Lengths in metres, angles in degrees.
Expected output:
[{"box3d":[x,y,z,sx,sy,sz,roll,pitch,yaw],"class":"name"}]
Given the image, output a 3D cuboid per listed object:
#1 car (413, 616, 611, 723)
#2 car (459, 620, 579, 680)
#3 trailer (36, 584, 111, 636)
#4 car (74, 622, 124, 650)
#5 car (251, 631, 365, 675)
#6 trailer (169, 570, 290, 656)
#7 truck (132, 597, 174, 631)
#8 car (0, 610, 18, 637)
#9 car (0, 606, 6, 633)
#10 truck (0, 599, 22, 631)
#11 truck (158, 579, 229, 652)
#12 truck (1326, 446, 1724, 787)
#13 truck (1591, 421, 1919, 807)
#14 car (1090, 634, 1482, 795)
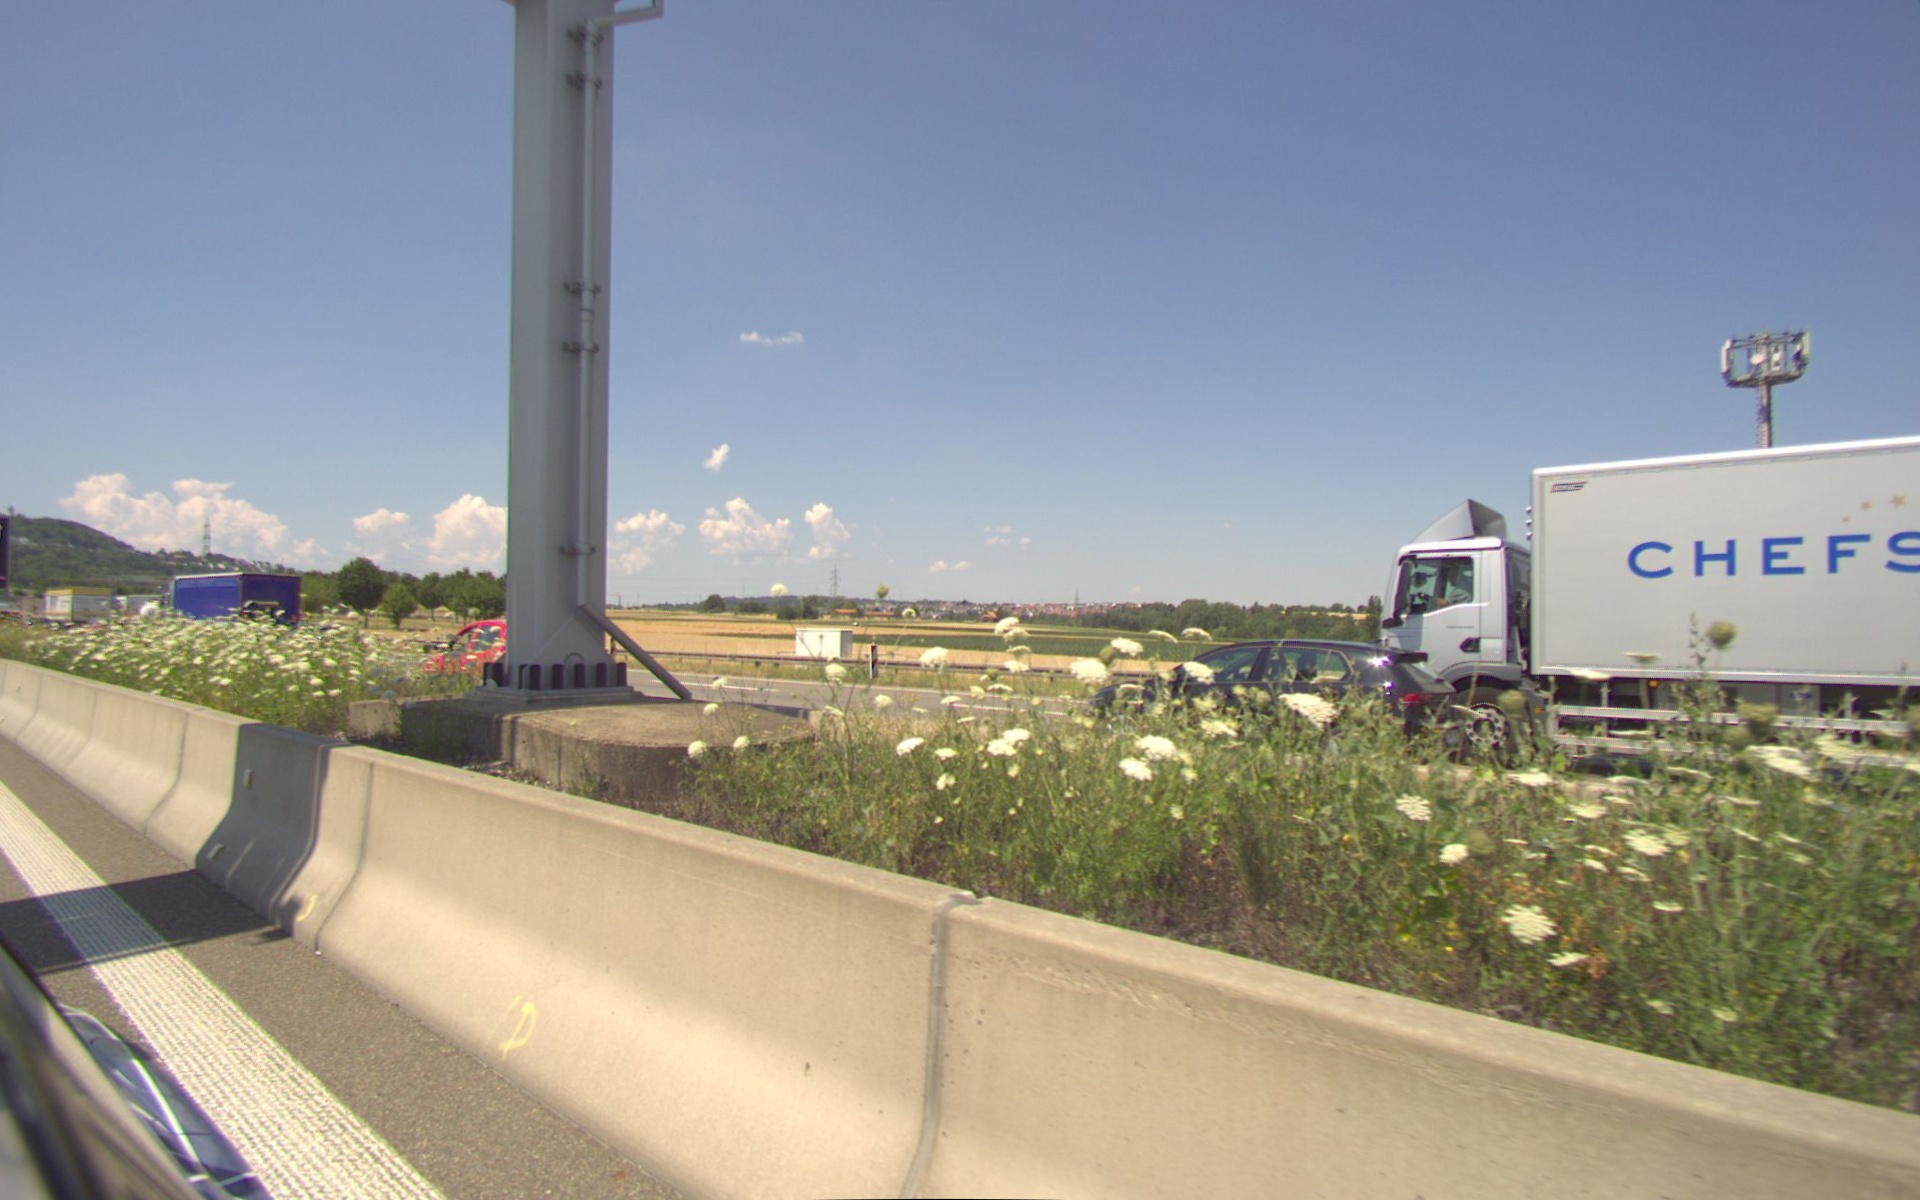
[{"box3d":[-7.486,1.072,16.793,3.702,1.582,1.543,-1,-2,40],"class":"car"},{"box3d":[-13.876,1.545,31.777,4.078,1.732,1.813,-1,-3,41],"class":"car"},{"box3d":[-75.765,0.921,86.337,14.122,4.160,2.780,-1,-3,41],"class":"trailer"},{"box3d":[-49.300,2.053,57.906,4.227,1.519,1.571,-1,-2,42],"class":"car"},{"box3d":[-21.213,1.693,32.870,4.276,1.334,1.814,-1,-4,39],"class":"car"},{"box3d":[-39.432,0.745,54.331,14.094,4.118,2.360,-1,-2,43],"class":"trailer"},{"box3d":[-98.225,1.859,123.355,2.860,3.805,13.321,4,-4,-35],"class":"truck"},{"box3d":[-59.839,1.432,62.570,4.934,1.590,1.875,0,0,41],"class":"car"},{"box3d":[-92.902,1.830,96.582,5.809,2.520,2.025,-1,-3,41],"class":"car"},{"box3d":[-117.564,1.810,123.817,13.284,3.637,2.765,-1,-4,42],"class":"truck"},{"box3d":[-45.079,0.957,59.495,4.658,4.118,2.386,-1,-2,42],"class":"truck"},{"box3d":[7.216,0.253,13.073,3.999,3.615,2.669,-1,-4,42],"class":"truck"},{"box3d":[11.241,0.160,9.405,8.785,3.648,2.670,-1,-4,42],"class":"truck"},{"box3d":[3.471,1.113,11.173,3.834,1.453,1.543,-1,-2,40],"class":"car"}]
